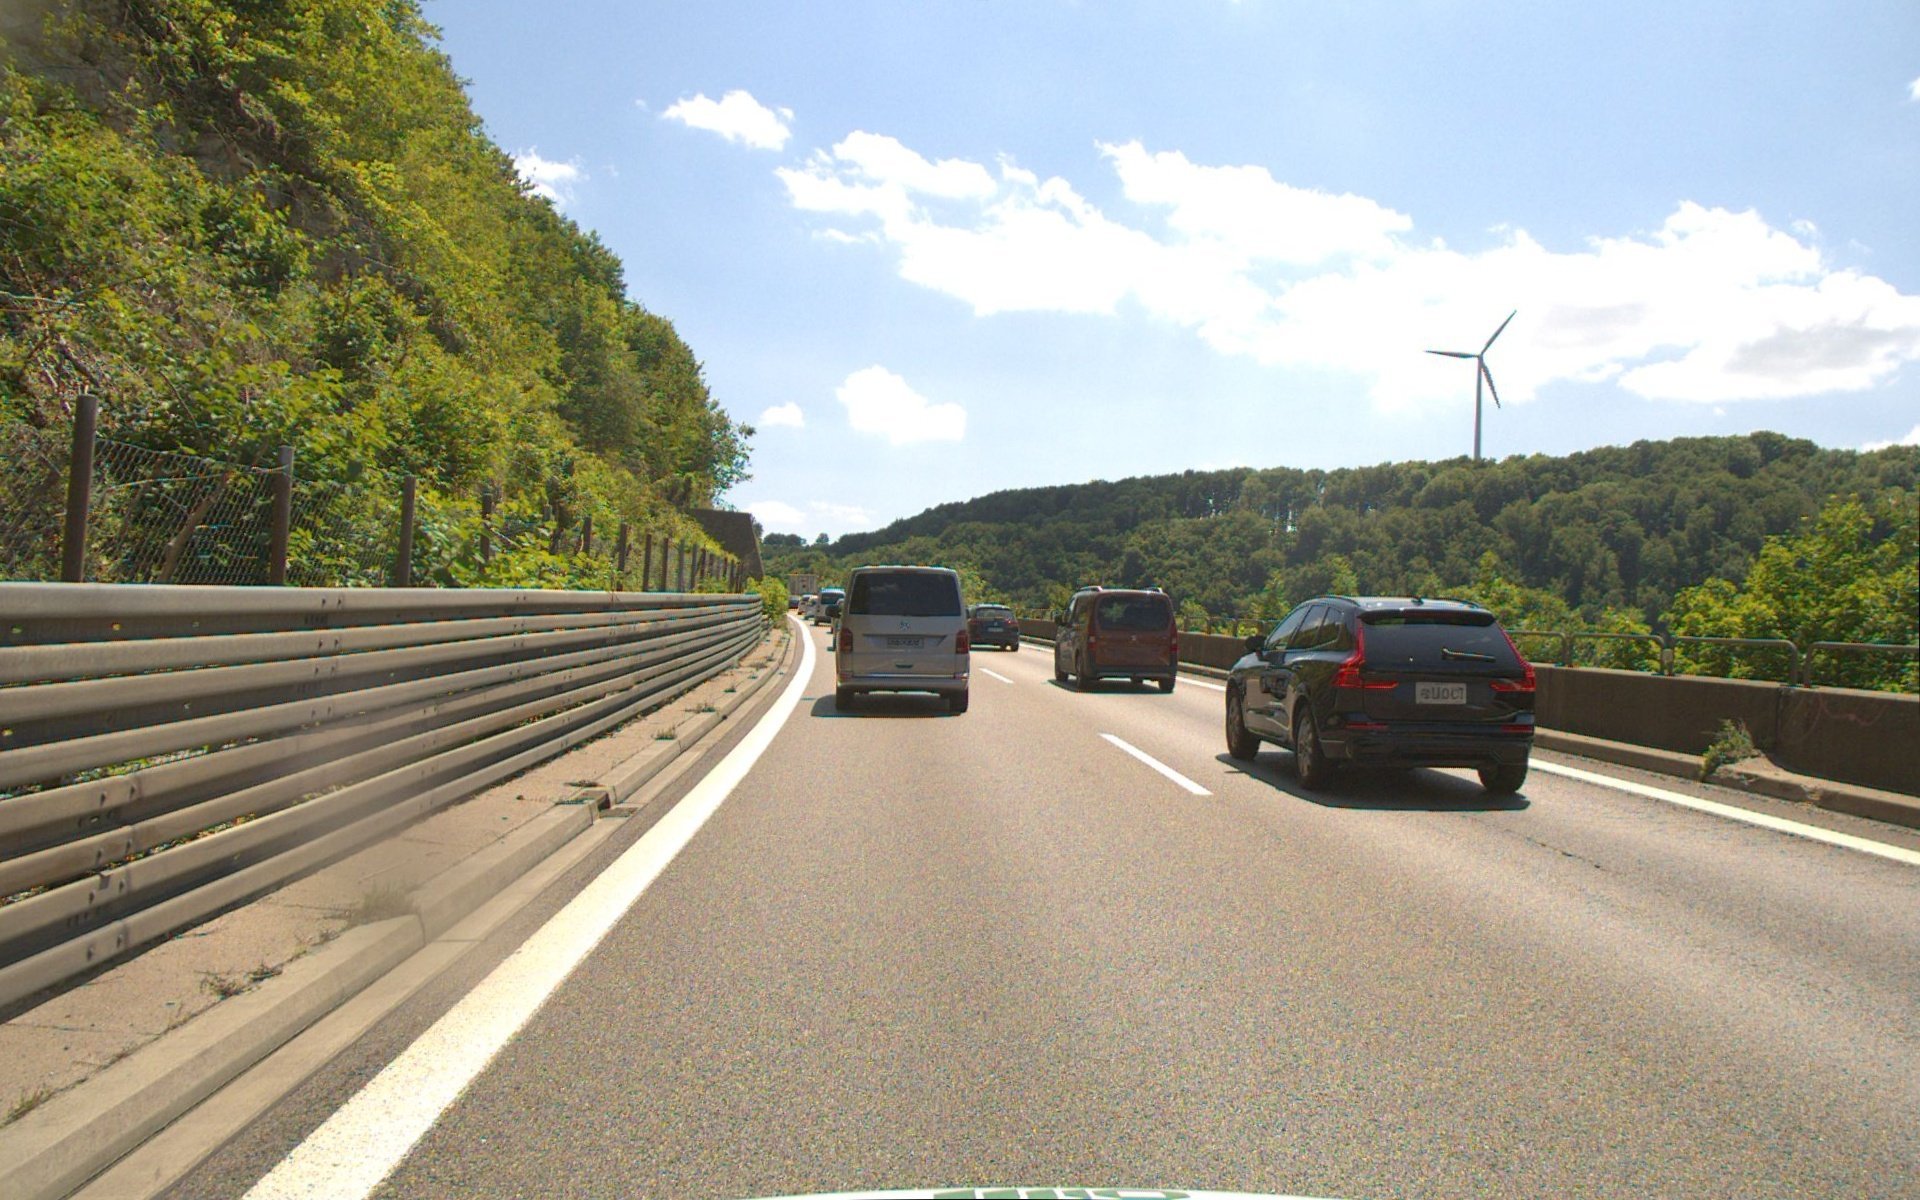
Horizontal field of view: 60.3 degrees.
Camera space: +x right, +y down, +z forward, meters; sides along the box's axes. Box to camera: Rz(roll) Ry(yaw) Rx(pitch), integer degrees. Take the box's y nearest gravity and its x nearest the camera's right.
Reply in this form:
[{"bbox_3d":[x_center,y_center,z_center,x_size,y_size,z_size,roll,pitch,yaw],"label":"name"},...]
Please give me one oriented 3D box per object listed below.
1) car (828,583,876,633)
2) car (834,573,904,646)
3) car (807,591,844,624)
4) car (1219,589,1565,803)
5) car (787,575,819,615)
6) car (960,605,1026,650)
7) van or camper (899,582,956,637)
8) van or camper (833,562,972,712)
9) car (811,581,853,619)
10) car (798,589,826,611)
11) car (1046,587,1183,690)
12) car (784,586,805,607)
[{"bbox_3d":[-4.530,0.333,69.661,1.954,2.049,3.997,0,-1,-3],"label":"car"},{"bbox_3d":[-2.647,0.276,48.628,1.954,2.049,3.998,0,0,-3],"label":"car"},{"bbox_3d":[-8.334,0.474,101.911,1.956,1.948,3.992,2,0,-9],"label":"car"},{"bbox_3d":[3.740,0.759,15.233,1.798,1.662,4.660,0,0,-2],"label":"car"},{"bbox_3d":[-20.034,-0.523,211.348,3.965,4.957,10.096,0,-1,-6],"label":"car"},{"bbox_3d":[1.033,0.864,53.574,1.734,1.400,3.588,0,0,-5],"label":"car"},{"bbox_3d":[-1.609,0.460,79.950,2.221,2.596,4.728,0,0,-8],"label":"van or camper"},{"bbox_3d":[-0.870,0.514,24.055,1.838,1.984,4.291,0,-1,-3],"label":"van or camper"},{"bbox_3d":[-6.692,-0.016,86.083,1.956,1.849,3.993,2,0,-7],"label":"car"},{"bbox_3d":[-11.970,-0.003,133.238,2.102,1.635,5.071,1,0,-6],"label":"car"},{"bbox_3d":[2.836,0.698,31.330,1.797,1.815,4.671,0,-1,-5],"label":"car"},{"bbox_3d":[-15.992,-0.313,160.063,1.955,2.049,3.995,0,-1,-5],"label":"car"}]
